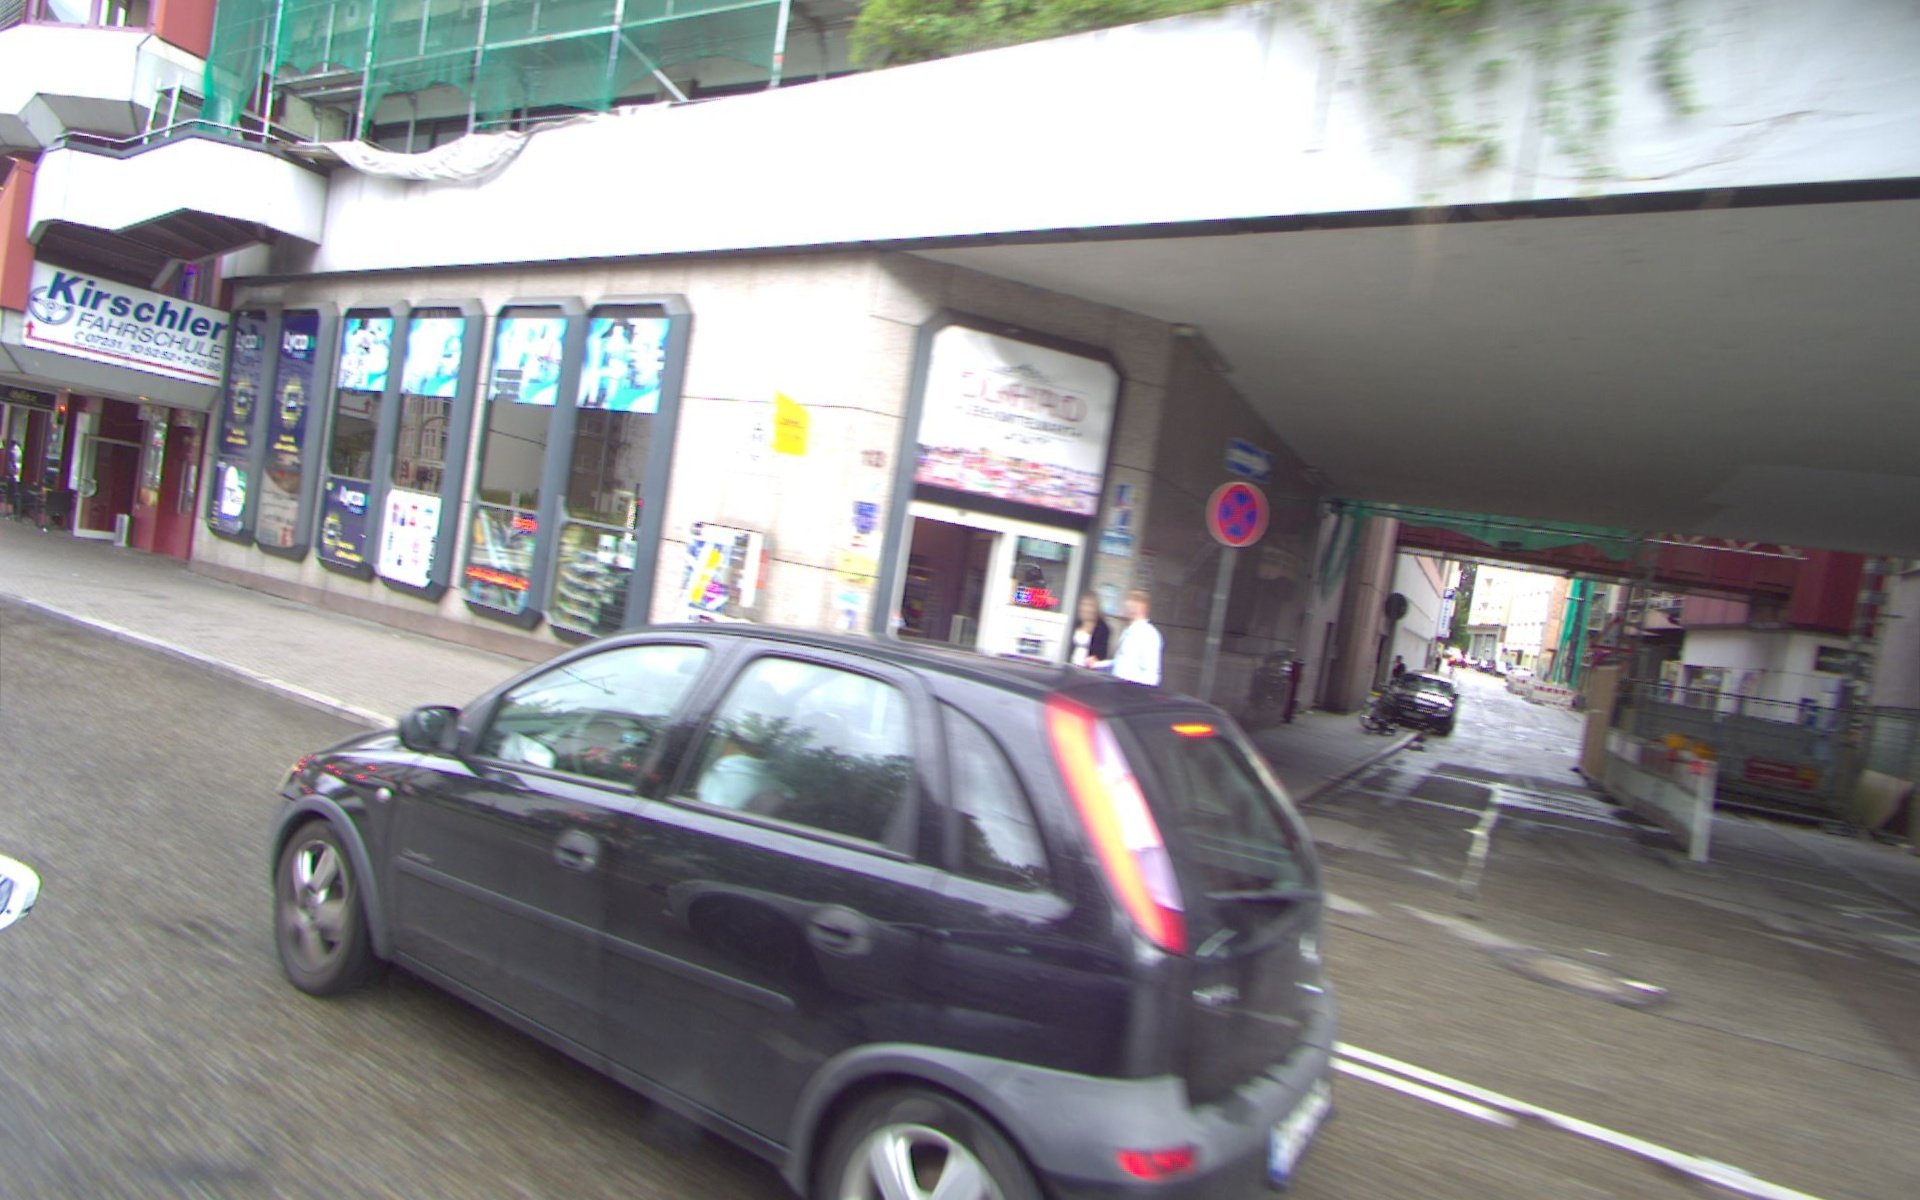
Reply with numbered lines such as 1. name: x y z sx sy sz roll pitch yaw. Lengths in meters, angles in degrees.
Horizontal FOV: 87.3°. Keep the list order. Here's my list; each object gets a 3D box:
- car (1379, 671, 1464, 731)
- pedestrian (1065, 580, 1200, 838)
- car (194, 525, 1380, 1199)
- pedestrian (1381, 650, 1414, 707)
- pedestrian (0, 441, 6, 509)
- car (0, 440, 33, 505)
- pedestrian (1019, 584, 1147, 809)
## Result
1. car: 12.598 2.737 27.353 1.786 1.275 4.061 6 -2 28
2. pedestrian: 1.391 0.865 8.223 0.630 1.957 0.737 7 -1 -13
3. car: -0.731 0.746 3.330 3.563 1.446 1.610 8 -1 32
4. pedestrian: 13.795 2.488 31.693 0.697 1.700 0.750 7 -1 30
5. pedestrian: -23.924 -3.102 24.788 0.496 1.660 0.396 7 1 32
6. car: -28.675 -3.890 27.807 1.793 1.721 4.005 7 -2 17
7. pedestrian: 1.148 0.881 9.372 0.728 1.957 0.637 6 -1 42
